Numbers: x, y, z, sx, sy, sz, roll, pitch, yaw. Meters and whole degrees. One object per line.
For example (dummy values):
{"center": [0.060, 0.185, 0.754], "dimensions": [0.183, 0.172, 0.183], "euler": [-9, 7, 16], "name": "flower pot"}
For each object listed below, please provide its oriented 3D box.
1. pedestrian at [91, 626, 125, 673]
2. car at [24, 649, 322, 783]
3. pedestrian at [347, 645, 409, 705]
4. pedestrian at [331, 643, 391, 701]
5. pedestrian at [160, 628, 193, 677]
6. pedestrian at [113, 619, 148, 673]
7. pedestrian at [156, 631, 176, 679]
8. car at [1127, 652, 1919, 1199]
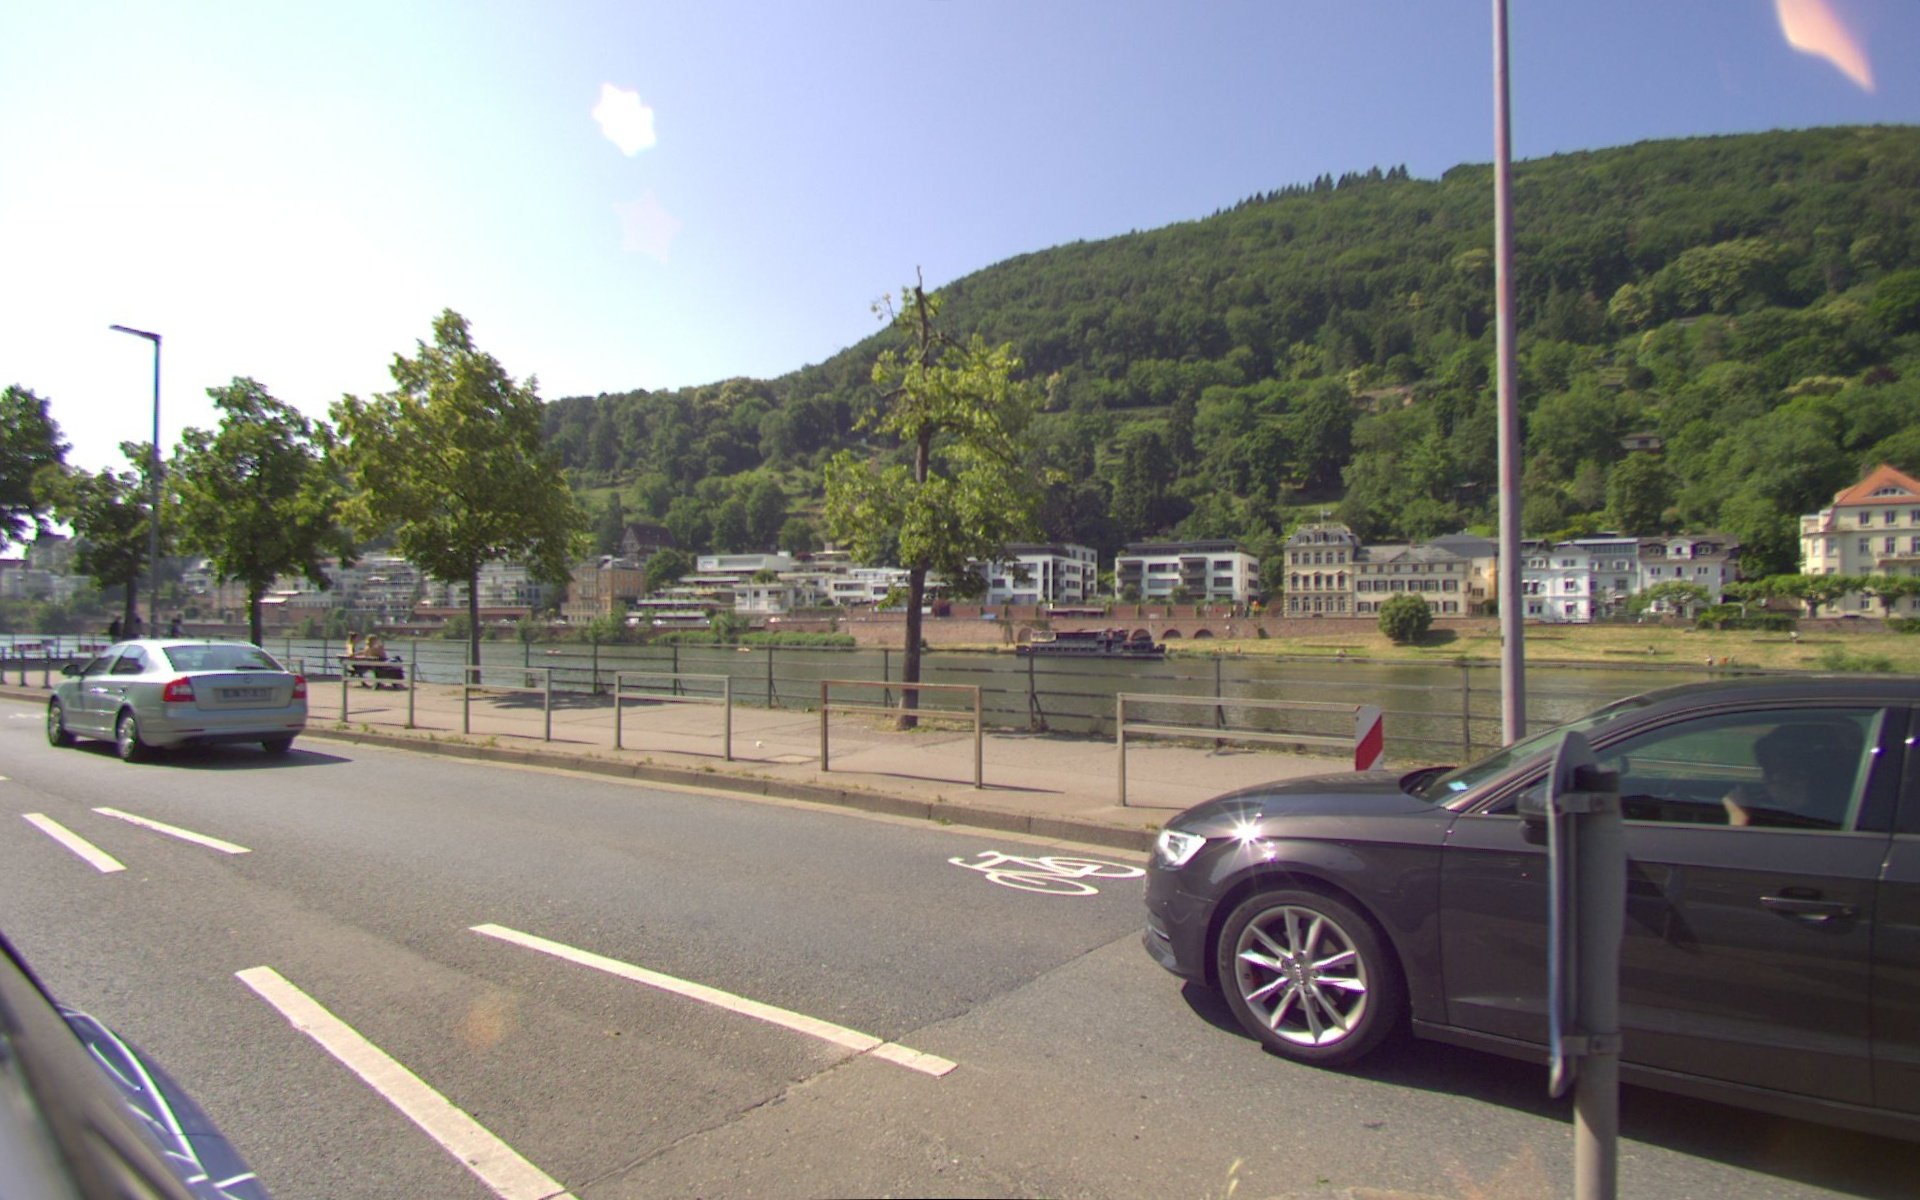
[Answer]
{"center": [-31.522, 1.816, 37.440], "dimensions": [0.655, 1.695, 0.752], "euler": [-1, 0, 27], "name": "pedestrian"}
{"center": [-10.118, 1.375, 12.920], "dimensions": [4.301, 1.439, 1.797], "euler": [-2, -5, 36], "name": "car"}
{"center": [-13.039, 1.662, 22.664], "dimensions": [0.848, 1.291, 0.927], "euler": [-1, -3, 39], "name": "pedestrian"}
{"center": [-13.746, 1.643, 23.239], "dimensions": [0.848, 1.291, 0.927], "euler": [-1, -3, 39], "name": "pedestrian"}
{"center": [-26.431, 1.773, 34.146], "dimensions": [0.663, 1.628, 0.687], "euler": [-1, -3, 38], "name": "pedestrian"}
{"center": [-30.935, 1.709, 37.730], "dimensions": [0.883, 1.960, 0.689], "euler": [-1, -3, 30], "name": "pedestrian"}
{"center": [-26.942, 1.863, 34.338], "dimensions": [0.450, 1.610, 0.410], "euler": [-1, -3, 38], "name": "pedestrian"}
{"center": [2.833, 0.921, 3.296], "dimensions": [4.186, 1.440, 1.800], "euler": [-2, -4, 37], "name": "car"}
